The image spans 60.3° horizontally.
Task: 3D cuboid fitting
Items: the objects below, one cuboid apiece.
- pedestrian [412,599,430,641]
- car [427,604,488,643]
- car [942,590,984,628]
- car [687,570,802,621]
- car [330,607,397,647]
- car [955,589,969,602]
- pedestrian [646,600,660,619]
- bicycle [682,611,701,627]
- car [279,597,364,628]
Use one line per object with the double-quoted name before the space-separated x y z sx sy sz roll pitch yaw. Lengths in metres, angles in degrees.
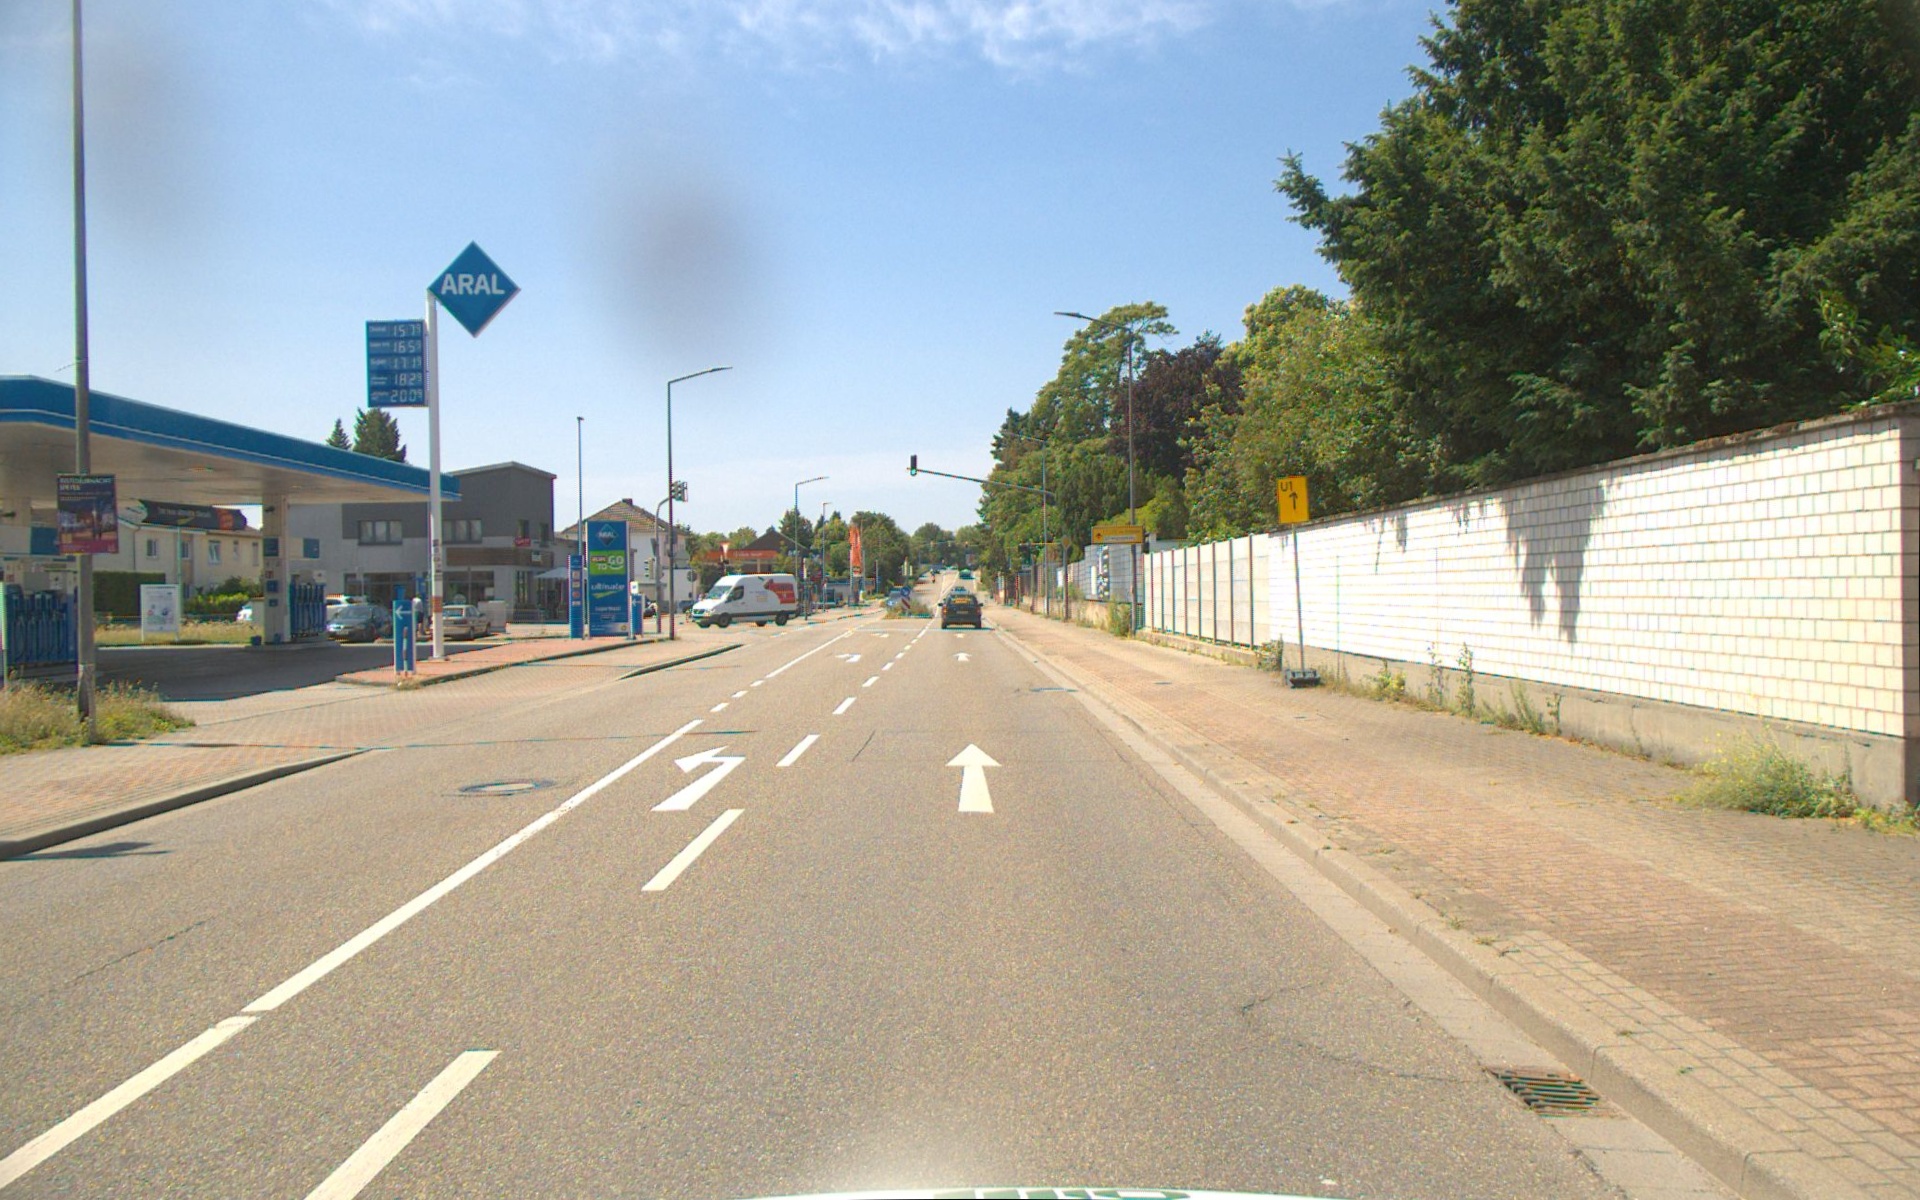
"pedestrian" -22.542 0.832 69.172 0.603 1.720 0.703 -1 0 -26
"car" -20.657 0.935 68.098 1.585 1.445 3.708 -3 1 -5
"car" 0.110 0.339 68.396 1.631 1.481 3.472 -1 0 -1
"car" -10.929 -0.185 84.332 1.966 2.465 5.906 -1 -2 44
"car" -24.217 1.078 67.282 1.585 1.445 3.708 -3 1 -5
"car" 0.251 -0.573 200.137 1.631 1.481 3.472 -1 0 -1
"pedestrian" -20.825 0.656 112.295 0.600 1.283 0.755 -1 0 26
"bicycle" -14.557 0.999 89.667 0.600 0.807 2.574 -1 0 0
"car" -33.877 0.636 87.818 3.908 1.534 1.553 -1 0 -4
